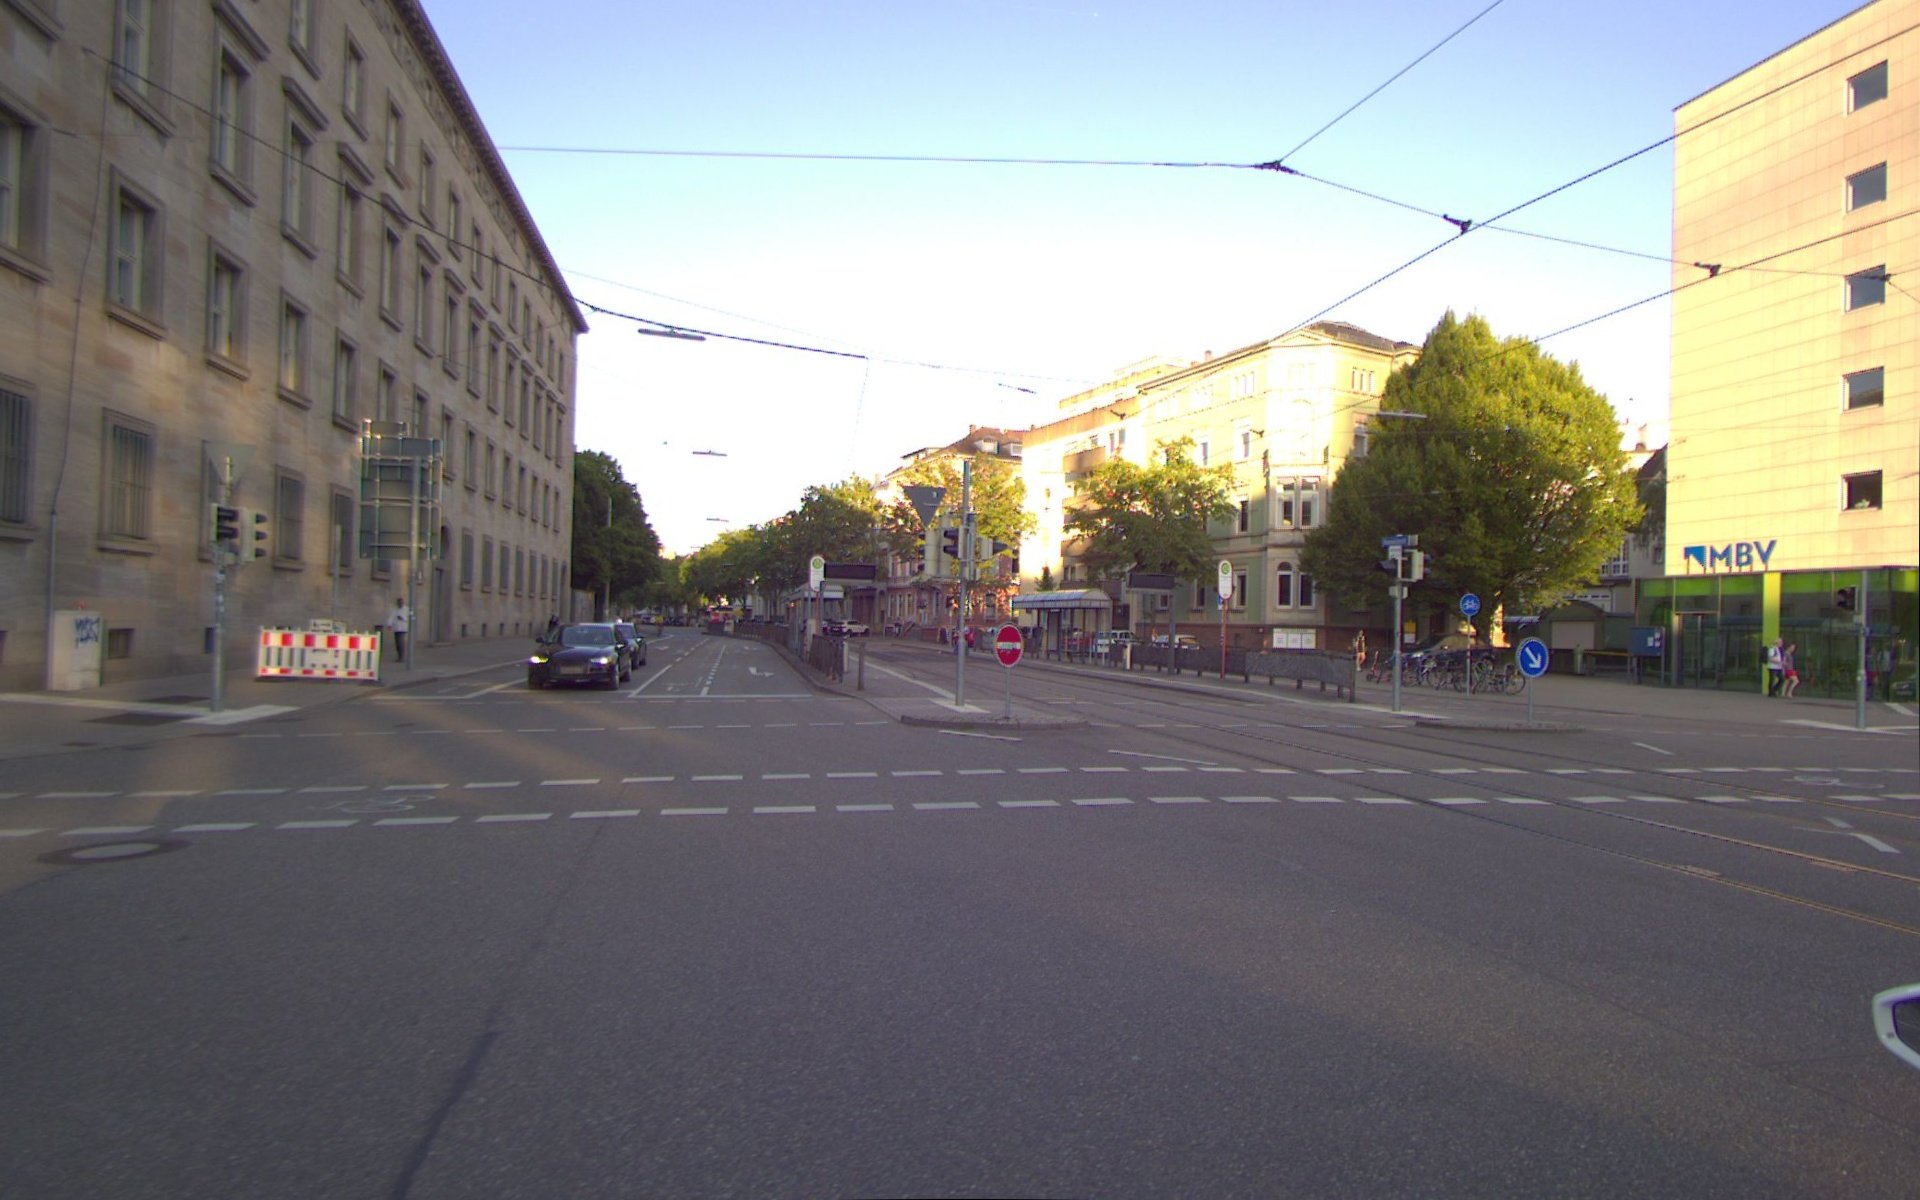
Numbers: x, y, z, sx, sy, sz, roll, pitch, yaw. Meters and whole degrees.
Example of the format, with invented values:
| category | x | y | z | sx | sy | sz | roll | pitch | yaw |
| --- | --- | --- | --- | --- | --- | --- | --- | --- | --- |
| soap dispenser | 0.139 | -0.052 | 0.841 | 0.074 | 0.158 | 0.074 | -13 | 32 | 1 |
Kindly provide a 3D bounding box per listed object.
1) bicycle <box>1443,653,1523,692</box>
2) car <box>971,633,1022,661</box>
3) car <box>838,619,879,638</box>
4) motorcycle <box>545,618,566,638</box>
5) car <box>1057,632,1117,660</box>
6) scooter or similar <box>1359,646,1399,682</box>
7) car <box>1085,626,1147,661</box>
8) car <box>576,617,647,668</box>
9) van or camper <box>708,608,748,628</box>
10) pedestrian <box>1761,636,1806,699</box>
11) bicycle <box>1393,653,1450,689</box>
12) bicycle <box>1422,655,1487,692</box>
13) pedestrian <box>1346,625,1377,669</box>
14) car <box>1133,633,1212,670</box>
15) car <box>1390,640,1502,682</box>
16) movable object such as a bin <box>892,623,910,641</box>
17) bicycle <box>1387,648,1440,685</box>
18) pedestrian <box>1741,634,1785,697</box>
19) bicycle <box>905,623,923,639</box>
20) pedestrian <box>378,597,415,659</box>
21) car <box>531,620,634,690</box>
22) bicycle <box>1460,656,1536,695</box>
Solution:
| category | x | y | z | sx | sy | sz | roll | pitch | yaw |
| --- | --- | --- | --- | --- | --- | --- | --- | --- | --- |
| bicycle | 16.014 | 2.216 | 30.743 | 2.198 | 1.147 | 0.743 | 1 | -1 | -11 |
| car | 2.308 | 3.018 | 64.755 | 1.724 | 1.653 | 4.066 | 0 | -1 | -23 |
| car | -9.522 | 2.711 | 94.719 | 1.645 | 1.648 | 3.945 | 1 | -2 | 33 |
| motorcycle | -22.829 | 1.583 | 56.721 | 0.688 | 1.089 | 2.647 | 1 | -1 | -13 |
| car | 7.255 | 2.631 | 57.016 | 1.618 | 1.473 | 4.198 | 1 | -2 | 34 |
| scooter or similar | 14.888 | 2.261 | 35.676 | 1.183 | 1.241 | 0.589 | 0 | -1 | -13 |
| car | 8.517 | 2.379 | 54.535 | 1.692 | 1.747 | 4.200 | 3 | -1 | 33 |
| car | -10.741 | 1.283 | 31.183 | 1.620 | 1.446 | 3.696 | 2 | -2 | -13 |
| van or camper | -31.966 | 2.451 | 138.533 | 2.049 | 2.564 | 5.539 | -1 | 0 | 29 |
| pedestrian | 24.231 | 1.970 | 29.565 | 0.696 | 1.791 | 0.745 | 2 | -1 | -12 |
| bicycle | 15.201 | 2.335 | 33.091 | 1.529 | 1.089 | 0.743 | 2 | -1 | -11 |
| bicycle | 15.548 | 2.304 | 31.570 | 1.730 | 1.089 | 0.743 | 2 | -1 | -11 |
| pedestrian | 16.977 | 1.980 | 42.528 | 0.700 | 1.791 | 0.982 | 2 | -1 | -28 |
| car | 10.105 | 2.427 | 48.027 | 1.662 | 1.573 | 3.978 | -1 | 0 | -23 |
| car | 20.022 | 2.506 | 41.426 | 3.928 | 1.595 | 1.799 | 2 | -1 | -13 |
| movable object such as a bin | -5.211 | 2.830 | 88.261 | 1.129 | 1.521 | 1.389 | 3 | -2 | -26 |
| bicycle | 15.476 | 2.260 | 34.289 | 1.504 | 1.178 | 0.743 | 2 | -1 | -11 |
| pedestrian | 23.541 | 1.910 | 29.443 | 0.696 | 1.791 | 0.733 | 2 | -1 | -12 |
| bicycle | -3.914 | 2.607 | 84.838 | 0.591 | 1.283 | 1.915 | 0 | -1 | 29 |
| pedestrian | -16.086 | 0.806 | 28.679 | 0.685 | 1.732 | 0.645 | 2 | -1 | -10 |
| car | -8.679 | 1.211 | 23.402 | 1.620 | 1.446 | 4.222 | 2 | -2 | -13 |
| bicycle | 15.879 | 2.227 | 29.656 | 1.828 | 1.089 | 0.744 | 1 | -1 | 5 |
